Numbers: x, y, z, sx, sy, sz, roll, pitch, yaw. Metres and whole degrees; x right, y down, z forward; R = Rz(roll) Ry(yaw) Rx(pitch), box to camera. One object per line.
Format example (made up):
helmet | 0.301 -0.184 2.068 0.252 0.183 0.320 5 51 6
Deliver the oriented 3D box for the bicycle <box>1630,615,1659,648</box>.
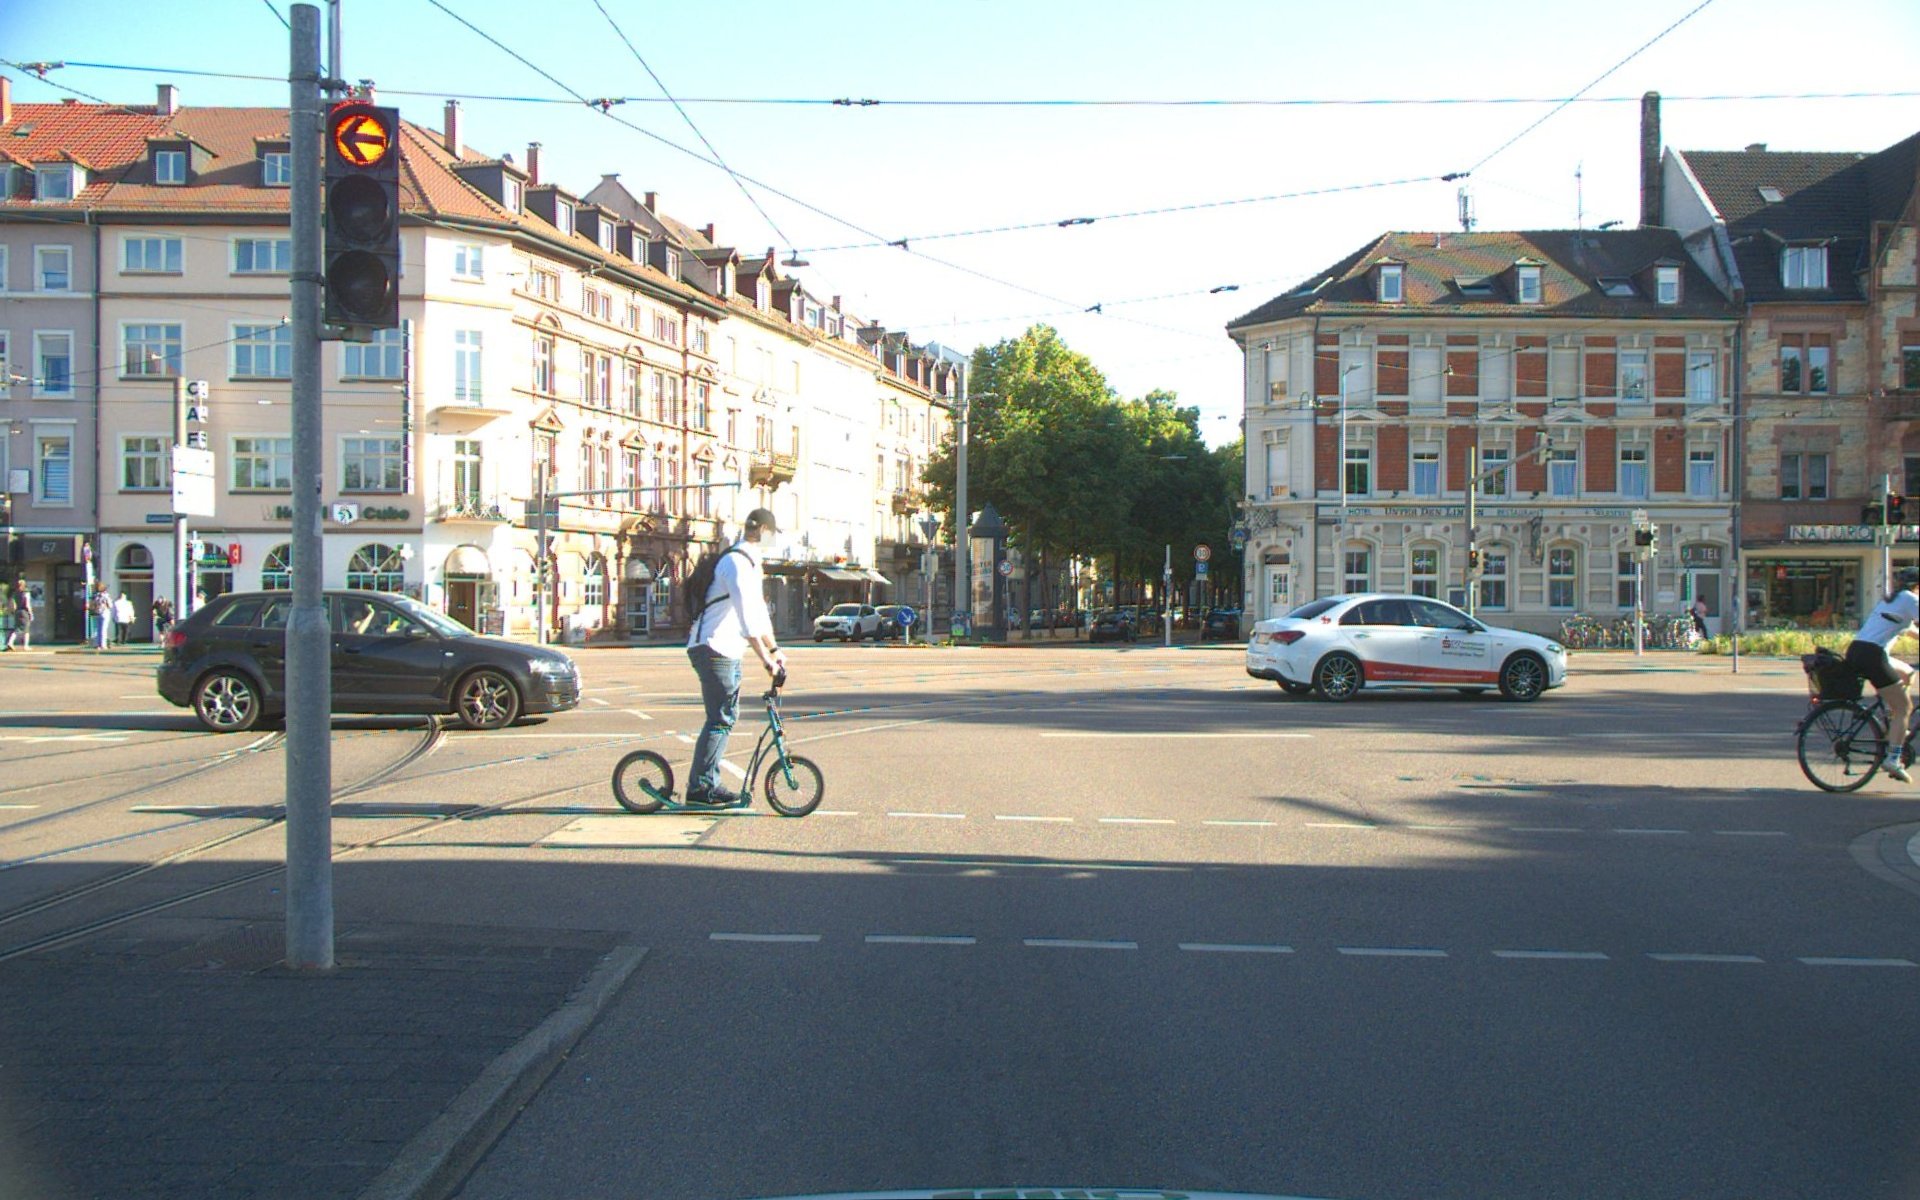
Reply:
bicycle | 22.111 1.015 53.464 0.476 1.038 1.785 0 0 9

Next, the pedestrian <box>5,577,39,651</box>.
pedestrian | -23.039 0.335 40.639 0.549 1.817 0.559 0 0 -6

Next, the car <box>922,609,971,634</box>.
car | -0.814 1.316 102.041 1.951 1.429 4.172 0 0 15

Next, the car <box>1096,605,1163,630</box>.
car | 10.254 1.037 99.808 3.902 1.480 1.683 0 0 10

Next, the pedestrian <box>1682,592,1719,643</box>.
pedestrian | 25.570 0.594 57.141 1.013 1.741 0.630 1 -1 8

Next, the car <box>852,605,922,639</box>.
car | -3.224 0.952 73.564 1.951 1.429 4.172 0 0 15

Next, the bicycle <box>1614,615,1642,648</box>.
bicycle | 21.613 1.007 53.535 0.476 1.038 1.785 0 0 9

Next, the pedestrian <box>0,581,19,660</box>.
pedestrian | -22.923 0.491 39.250 0.751 1.861 0.722 0 0 -1

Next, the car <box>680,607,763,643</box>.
car | -9.597 0.984 66.866 1.951 1.385 3.821 0 0 15

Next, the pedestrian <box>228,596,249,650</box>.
pedestrian | -17.226 0.544 39.480 0.358 1.275 0.449 0 0 -12

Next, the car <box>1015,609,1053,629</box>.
car | 5.481 1.377 122.624 1.951 1.429 4.172 0 0 15

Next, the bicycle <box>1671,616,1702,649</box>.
bicycle | 23.591 1.042 53.726 0.476 1.038 1.785 0 0 9

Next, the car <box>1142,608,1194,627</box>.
car | 14.050 1.148 111.645 3.360 1.261 1.578 0 0 10

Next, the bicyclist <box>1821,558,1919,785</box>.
bicyclist | 7.486 0.549 13.114 0.921 1.743 0.732 0 0 -8

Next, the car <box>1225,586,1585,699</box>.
car | 6.179 0.564 23.192 4.583 1.499 1.738 0 0 -8

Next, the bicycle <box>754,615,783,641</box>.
bicycle | -7.554 1.097 65.152 0.641 1.018 1.666 1 0 11

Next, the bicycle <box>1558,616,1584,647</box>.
bicycle | 19.805 1.013 53.636 0.476 0.930 1.785 0 0 9

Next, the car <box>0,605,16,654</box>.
car | -32.132 0.902 52.142 3.651 1.517 1.818 1 0 2

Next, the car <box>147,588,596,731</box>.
car | -6.057 0.591 17.439 4.190 1.405 1.643 0 0 -8

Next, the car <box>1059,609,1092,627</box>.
car | 9.578 1.479 136.710 1.951 1.429 4.172 0 0 15

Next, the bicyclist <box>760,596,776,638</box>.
bicyclist | -7.545 0.652 65.053 0.479 1.629 0.667 0 0 9

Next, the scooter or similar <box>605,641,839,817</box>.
scooter or similar | -1.481 0.801 10.452 1.402 1.062 0.565 0 0 -2

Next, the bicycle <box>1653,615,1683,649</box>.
bicycle | 22.906 1.029 53.543 0.476 1.038 1.785 0 0 9

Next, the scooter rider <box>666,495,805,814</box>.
scooter rider | -1.407 0.329 10.485 0.779 1.945 0.797 0 0 -1

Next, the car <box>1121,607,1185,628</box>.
car | 12.321 1.139 105.546 3.902 1.311 1.696 0 0 10

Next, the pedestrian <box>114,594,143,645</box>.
pedestrian | -28.118 0.667 55.940 0.727 1.711 0.626 0 0 -12

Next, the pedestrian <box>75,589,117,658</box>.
pedestrian | -21.483 0.572 41.124 0.725 1.711 0.628 0 0 -1

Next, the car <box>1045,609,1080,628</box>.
car | 8.149 1.432 131.492 1.951 1.429 4.172 0 0 15

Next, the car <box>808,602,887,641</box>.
car | -4.529 0.846 67.372 1.951 1.542 4.172 0 0 15

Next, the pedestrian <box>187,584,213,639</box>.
pedestrian | -23.794 0.357 51.768 0.731 1.711 0.623 0 0 -26

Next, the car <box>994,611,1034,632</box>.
car | 3.822 1.483 116.879 1.951 1.429 4.172 0 0 15

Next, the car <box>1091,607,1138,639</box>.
car | 6.820 0.982 72.671 1.680 1.323 4.077 0 0 11

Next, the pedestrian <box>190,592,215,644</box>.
pedestrian | -25.021 0.594 54.627 0.731 1.711 0.623 0 0 -26

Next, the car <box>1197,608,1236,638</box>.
car | 12.857 1.140 82.690 1.717 1.445 4.003 0 0 12

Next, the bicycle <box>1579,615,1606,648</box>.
bicycle | 20.474 1.020 53.559 0.476 1.038 1.785 0 0 9

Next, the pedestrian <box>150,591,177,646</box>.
pedestrian | -24.951 0.584 51.821 0.731 1.711 0.623 0 0 -26

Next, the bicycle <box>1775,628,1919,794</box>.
bicycle | 7.560 0.855 13.119 1.886 1.244 0.741 0 0 -8

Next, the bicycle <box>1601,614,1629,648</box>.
bicycle | 21.164 0.999 53.467 0.476 1.038 1.785 0 0 9
